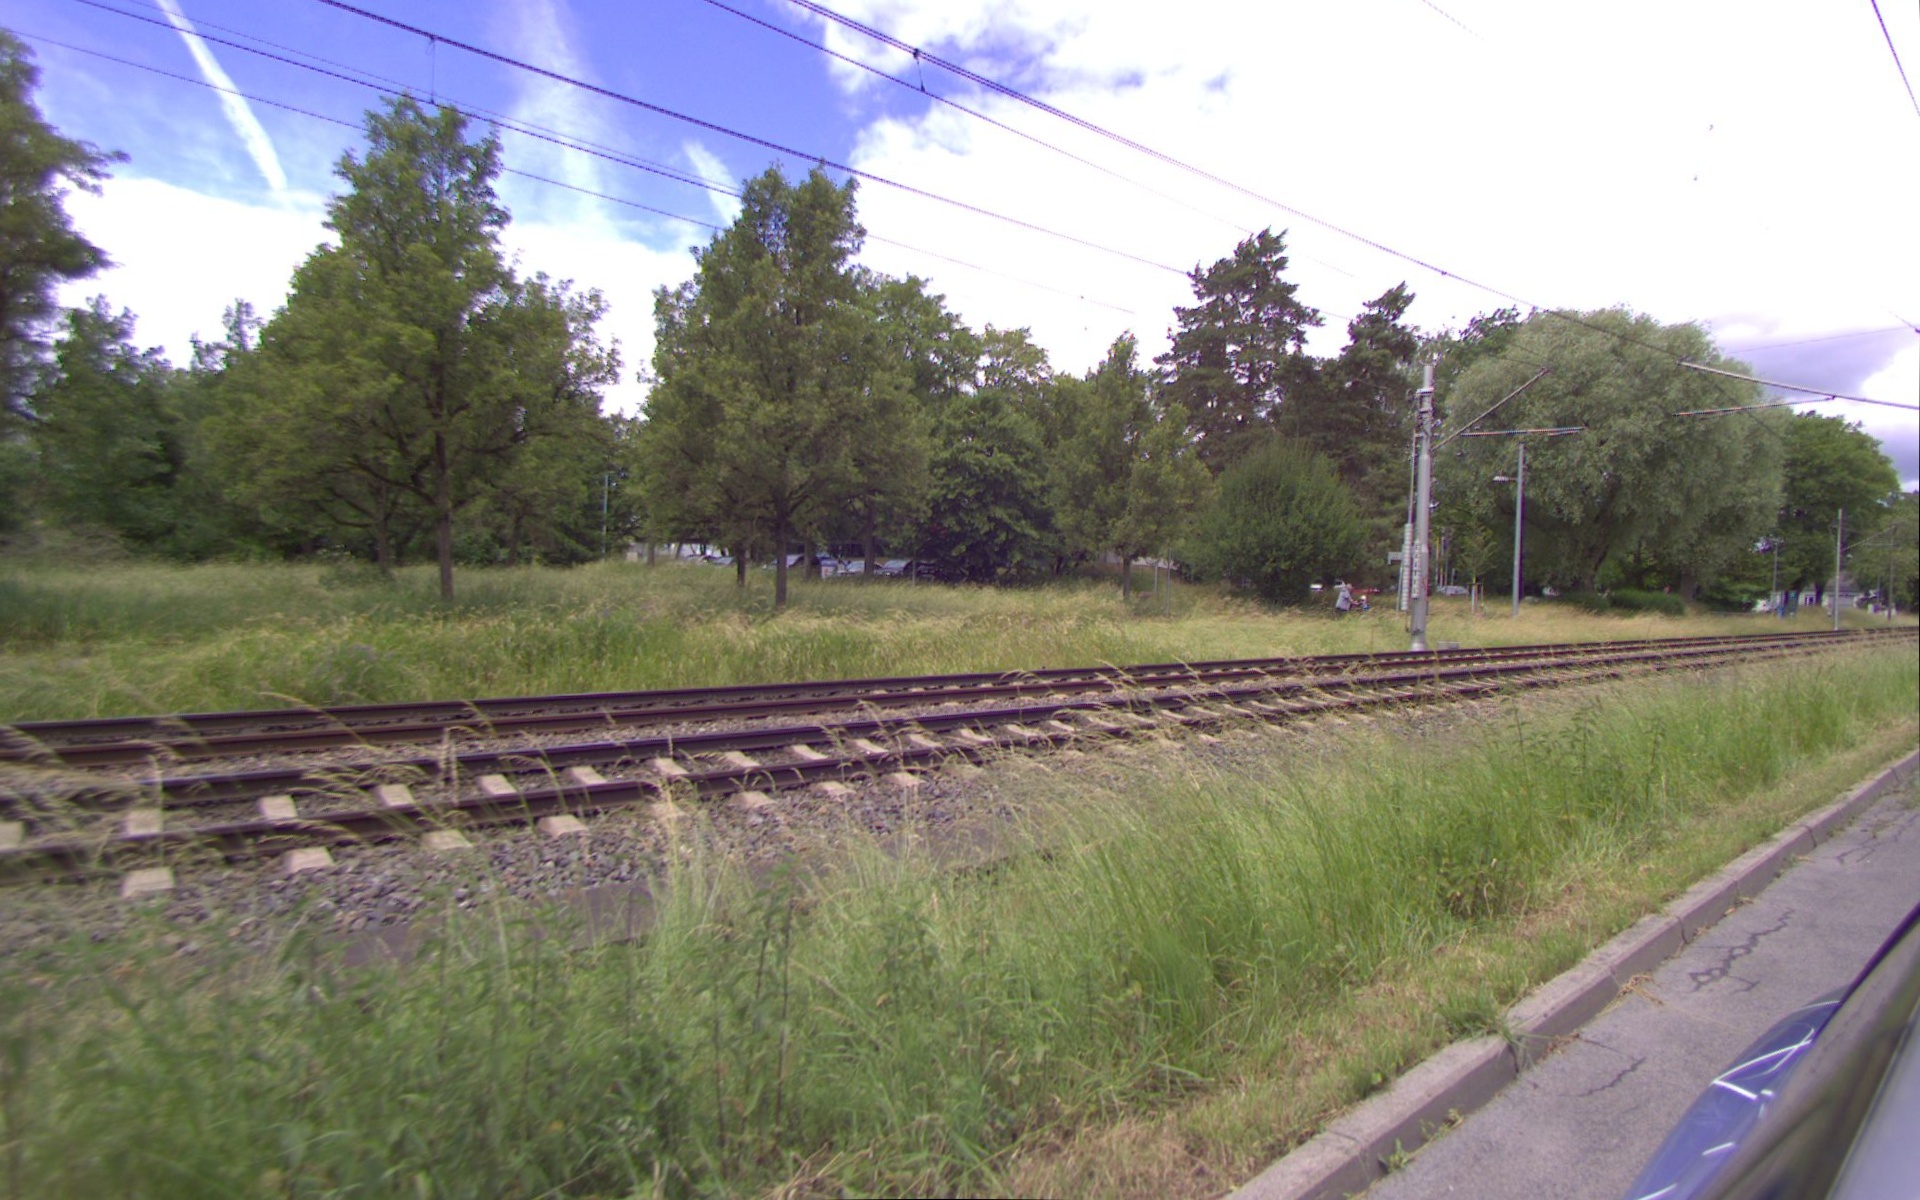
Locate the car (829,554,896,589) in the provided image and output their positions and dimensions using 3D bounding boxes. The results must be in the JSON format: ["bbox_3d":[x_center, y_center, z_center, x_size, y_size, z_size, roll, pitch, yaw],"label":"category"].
[{"bbox_3d":[-5.368,-1.537,56.115,1.979,1.834,3.967,2,1,24],"label":"car"}]

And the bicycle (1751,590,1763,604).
[{"bbox_3d":[73.175,-0.238,92.883,1.897,1.261,0.581,0,1,-44],"label":"bicycle"}]

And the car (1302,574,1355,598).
[{"bbox_3d":[28.078,-1.081,77.052,4.153,1.721,1.998,0,1,-40],"label":"car"}]

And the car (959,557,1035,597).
[{"bbox_3d":[1.833,-1.080,48.949,1.740,1.826,3.946,2,1,37],"label":"car"}]

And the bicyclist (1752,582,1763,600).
[{"bbox_3d":[73.201,-0.825,92.902,0.920,1.717,0.581,1,1,-44],"label":"bicyclist"}]

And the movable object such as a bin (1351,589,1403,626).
[{"bbox_3d":[15.604,0.269,37.895,1.612,1.326,0.660,2,1,1],"label":"movable object such as a bin"}]

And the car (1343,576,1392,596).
[{"bbox_3d":[32.492,-1.107,80.751,3.929,1.460,1.998,0,2,-40],"label":"car"}]

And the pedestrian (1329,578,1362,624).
[{"bbox_3d":[14.470,0.029,37.967,0.940,1.687,0.658,2,1,1],"label":"pedestrian"}]

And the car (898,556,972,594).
[{"bbox_3d":[-1.238,-1.271,52.479,1.740,1.826,3.946,2,1,37],"label":"car"}]
